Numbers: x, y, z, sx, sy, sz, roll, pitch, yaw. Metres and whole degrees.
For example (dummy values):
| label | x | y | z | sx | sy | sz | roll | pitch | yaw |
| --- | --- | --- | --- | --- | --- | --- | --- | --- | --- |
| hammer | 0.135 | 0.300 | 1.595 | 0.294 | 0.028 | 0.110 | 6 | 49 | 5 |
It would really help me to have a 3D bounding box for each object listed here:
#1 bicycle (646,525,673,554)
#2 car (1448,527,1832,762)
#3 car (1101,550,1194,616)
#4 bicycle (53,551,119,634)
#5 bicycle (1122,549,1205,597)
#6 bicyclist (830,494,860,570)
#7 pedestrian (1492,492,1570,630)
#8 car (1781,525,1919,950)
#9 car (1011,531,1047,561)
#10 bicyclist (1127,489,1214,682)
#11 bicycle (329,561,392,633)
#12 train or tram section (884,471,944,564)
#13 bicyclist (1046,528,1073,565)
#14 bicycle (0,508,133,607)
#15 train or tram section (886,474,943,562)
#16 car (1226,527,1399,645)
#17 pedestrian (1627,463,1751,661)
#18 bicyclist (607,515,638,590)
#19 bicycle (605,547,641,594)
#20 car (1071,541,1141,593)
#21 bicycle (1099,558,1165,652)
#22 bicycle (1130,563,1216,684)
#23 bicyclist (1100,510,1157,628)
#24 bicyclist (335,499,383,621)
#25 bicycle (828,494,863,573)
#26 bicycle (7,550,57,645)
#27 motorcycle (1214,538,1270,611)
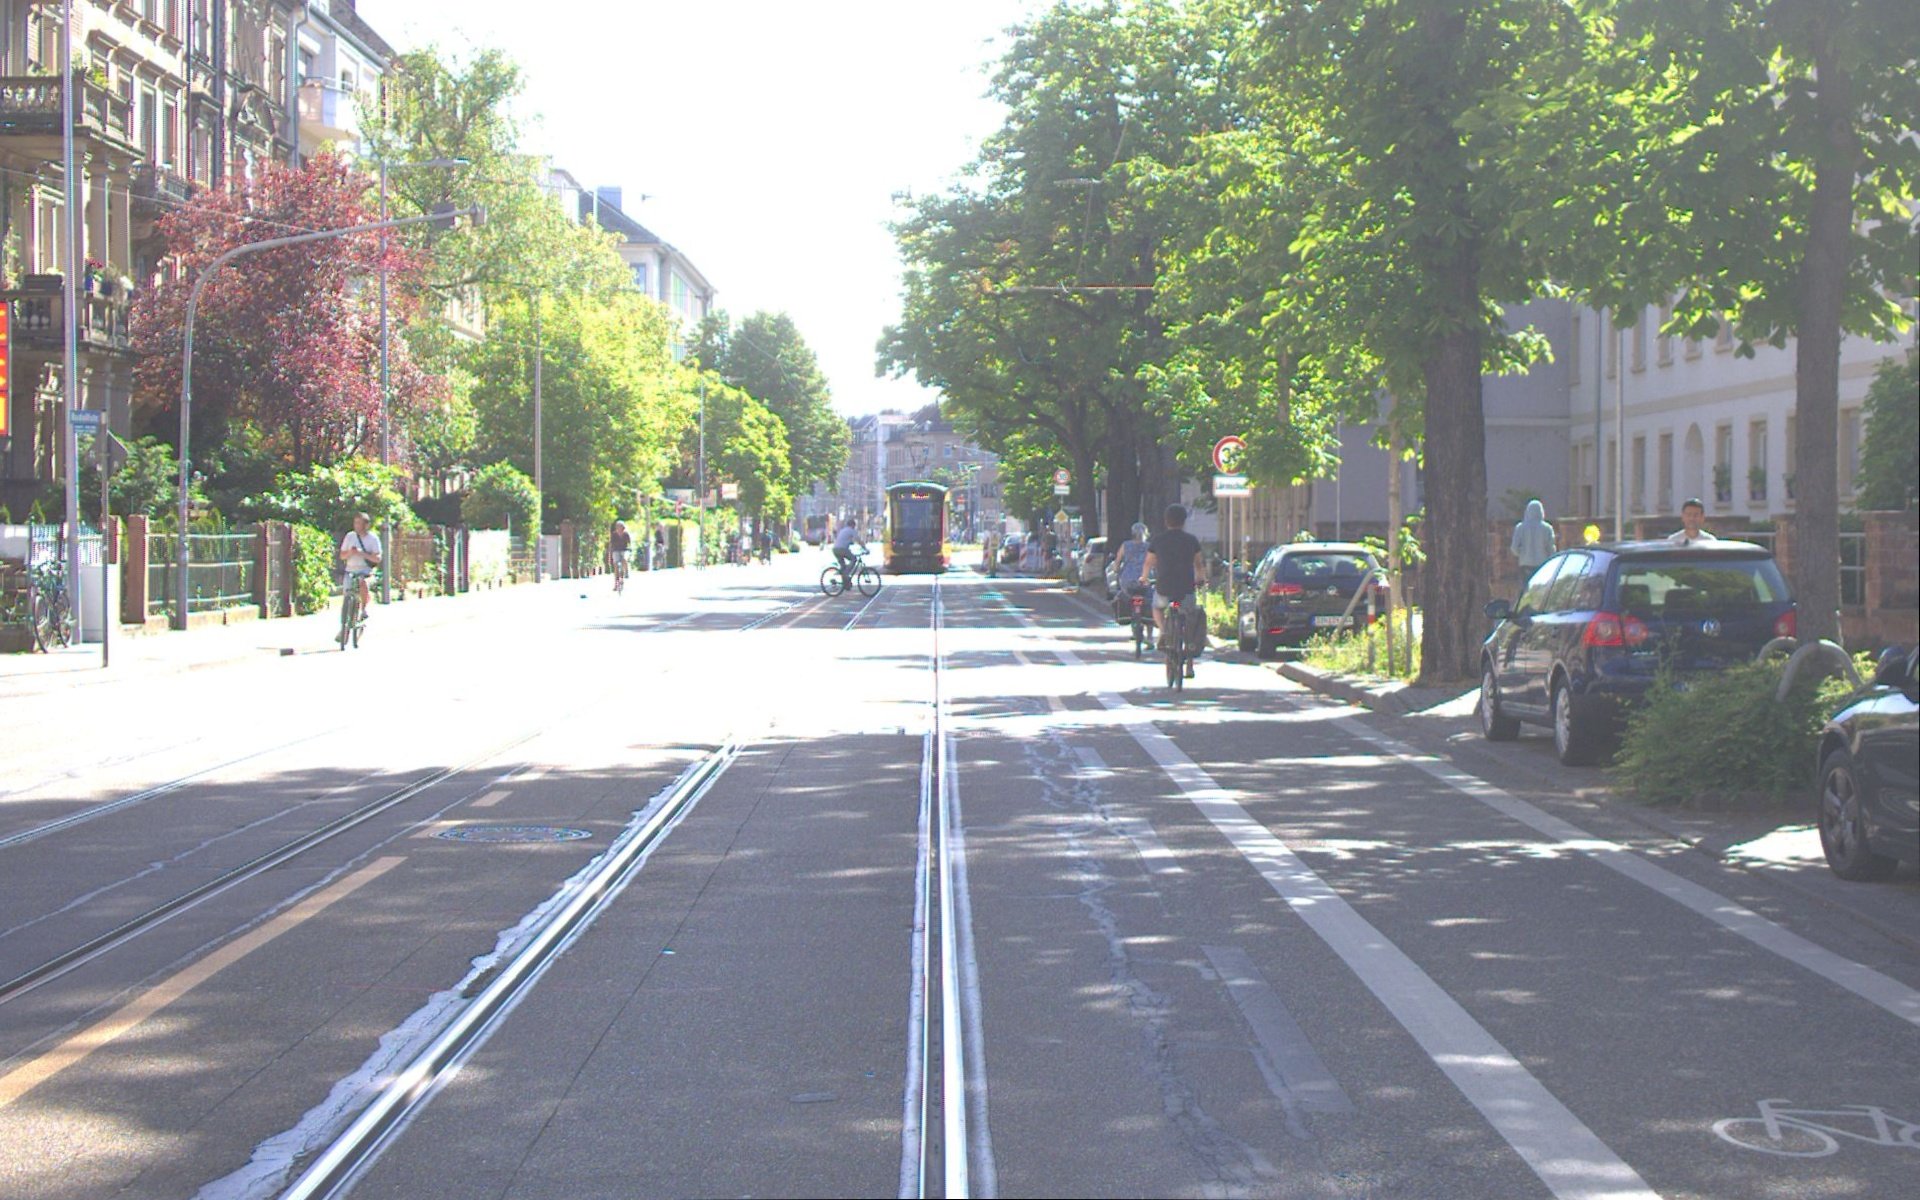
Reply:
| label | x | y | z | sx | sy | sz | roll | pitch | yaw |
| --- | --- | --- | --- | --- | --- | --- | --- | --- | --- |
| bicycle | -11.477 | -2.317 | 131.377 | 0.632 | 1.065 | 1.832 | 2 | 1 | -17 |
| car | 4.657 | 0.239 | 24.133 | 1.720 | 1.468 | 4.247 | -1 | 1 | -2 |
| car | 4.331 | -0.415 | 79.981 | 1.628 | 1.431 | 4.666 | 0 | 1 | -4 |
| bicycle | -10.990 | -0.106 | 43.241 | 0.335 | 0.997 | 1.870 | 2 | 1 | 0 |
| bicycle | 4.564 | -0.609 | 77.095 | 1.792 | 1.016 | 0.620 | -2 | 1 | -1 |
| bicyclist | -2.749 | -1.637 | 82.212 | 0.645 | 1.789 | 0.956 | 2 | 1 | -1 |
| pedestrian | 7.269 | -0.495 | 43.772 | 0.764 | 1.718 | 0.579 | 3 | 1 | 29 |
| car | 4.808 | 0.578 | 14.274 | 1.665 | 1.755 | 4.232 | 1 | 1 | -1 |
| car | 3.624 | -2.869 | 181.678 | 1.754 | 1.546 | 3.677 | 1 | 1 | -1 |
| bicyclist | 2.054 | -0.151 | 33.623 | 0.727 | 1.842 | 0.837 | 2 | 1 | -1 |
| bicycle | -8.079 | -0.054 | 46.371 | 0.460 | 0.922 | 2.203 | -1 | 1 | 0 |
| train or tram section | -1.756 | -3.161 | 132.233 | 2.153 | 3.420 | 6.612 | 2 | 1 | -1 |
| bicyclist | 3.573 | -1.921 | 123.006 | 0.772 | 1.287 | 0.733 | 2 | 1 | 16 |
| bicycle | -12.418 | -0.590 | 47.697 | 1.761 | 1.316 | 0.614 | 2 | 1 | -9 |
| train or tram section | -1.828 | -3.316 | 138.882 | 2.153 | 3.420 | 6.612 | 2 | 1 | -1 |
| car | 4.530 | -0.219 | 44.688 | 1.787 | 1.459 | 4.045 | 0 | 1 | -1 |
| pedestrian | 6.693 | -0.351 | 31.572 | 0.599 | 1.765 | 0.913 | -3 | 2 | -31 |
| bicyclist | -8.211 | -1.146 | 83.656 | 0.660 | 1.795 | 0.616 | -2 | 1 | 0 |
| bicycle | -8.200 | -0.731 | 83.630 | 0.692 | 1.108 | 1.719 | -1 | 1 | 0 |
| car | 4.168 | -0.961 | 98.574 | 1.748 | 1.415 | 4.000 | -1 | 1 | -1 |
| bicycle | 2.162 | 0.052 | 43.316 | 0.692 | 1.108 | 1.917 | 2 | 1 | 0 |
| bicycle | 2.072 | 0.218 | 33.611 | 0.692 | 1.108 | 1.719 | 2 | 1 | 0 |
| bicyclist | 2.129 | -0.400 | 43.456 | 0.635 | 1.463 | 0.616 | 2 | 1 | 0 |
| bicyclist | -8.079 | -0.540 | 46.216 | 0.464 | 1.613 | 0.744 | -2 | 1 | 0 |
| bicycle | -2.738 | -1.600 | 82.526 | 0.663 | 1.853 | 2.260 | 2 | 1 | 1 |
| bicycle | -11.281 | -0.035 | 41.807 | 0.370 | 1.122 | 0.809 | 2 | 1 | 0 |
| motorcycle | 4.844 | -0.453 | 59.137 | 0.495 | 1.186 | 1.862 | -3 | 2 | -8 |
